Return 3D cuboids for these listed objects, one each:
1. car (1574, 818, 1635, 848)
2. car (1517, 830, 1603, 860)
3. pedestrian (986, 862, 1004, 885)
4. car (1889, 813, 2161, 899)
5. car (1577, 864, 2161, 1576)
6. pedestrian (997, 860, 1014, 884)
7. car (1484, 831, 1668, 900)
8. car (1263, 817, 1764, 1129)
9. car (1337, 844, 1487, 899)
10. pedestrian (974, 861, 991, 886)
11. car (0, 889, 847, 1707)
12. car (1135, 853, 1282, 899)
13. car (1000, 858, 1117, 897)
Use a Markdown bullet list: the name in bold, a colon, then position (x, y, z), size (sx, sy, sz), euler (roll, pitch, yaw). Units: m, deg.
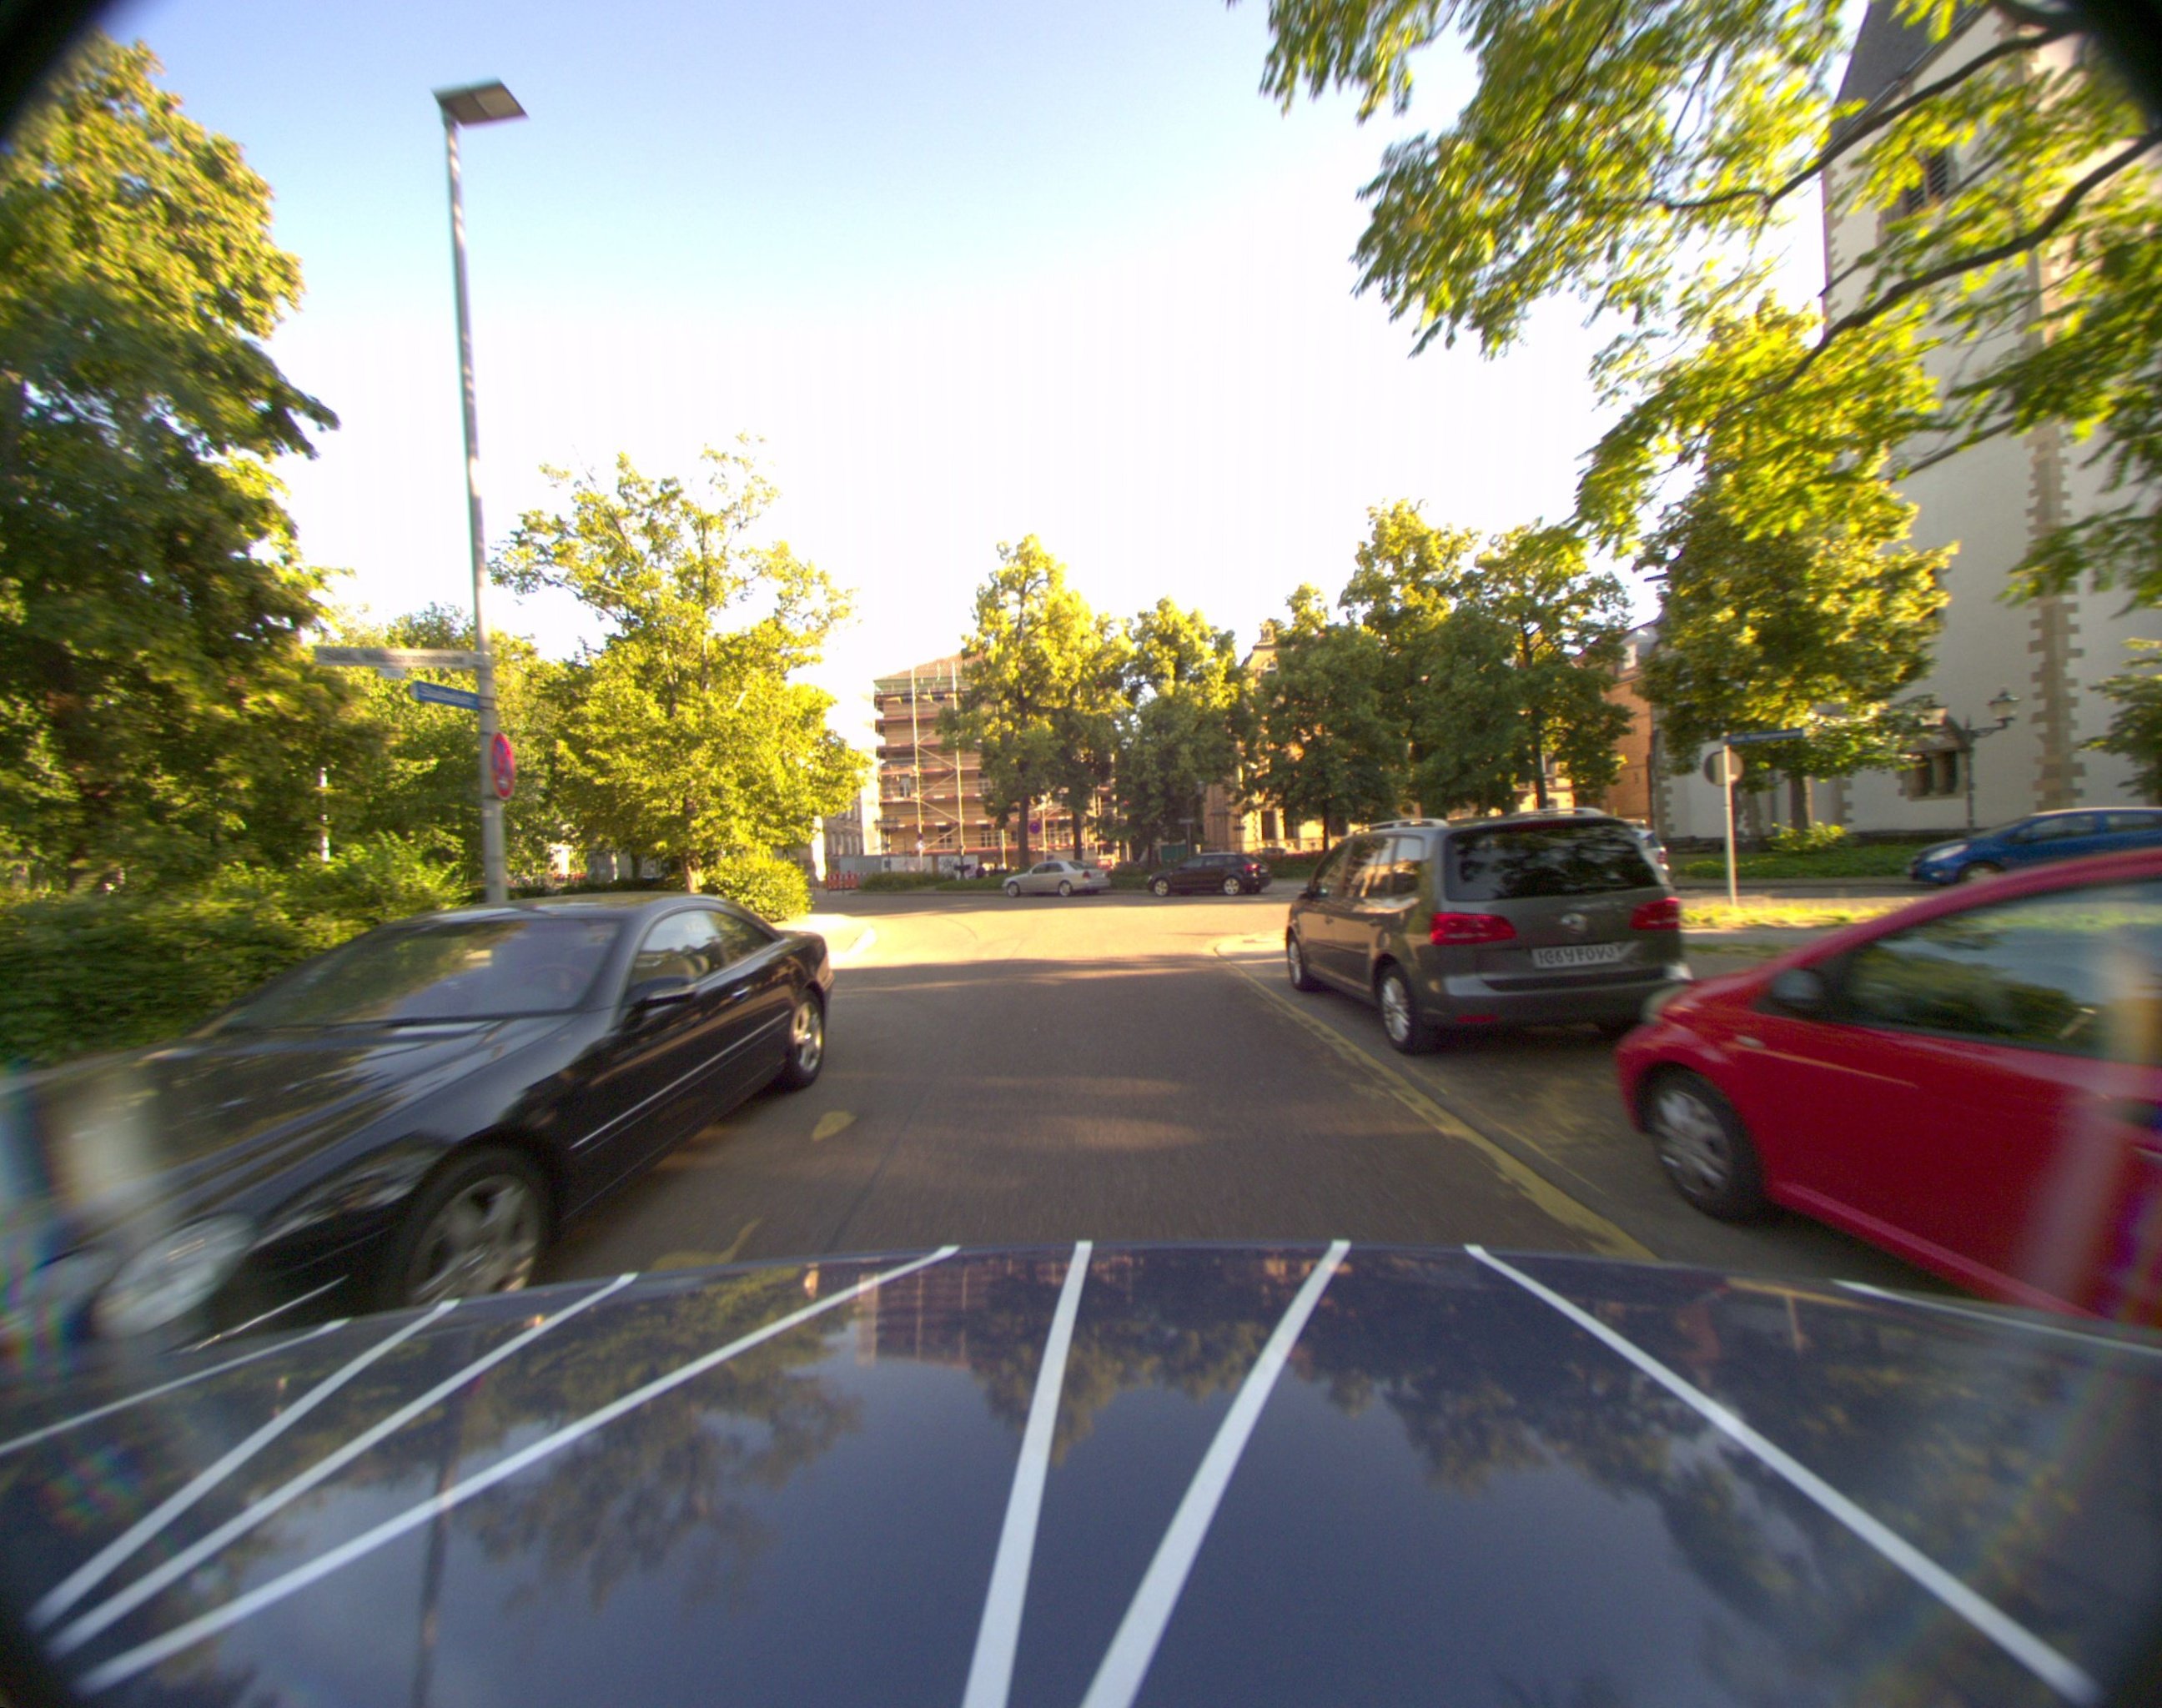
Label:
- **car**: position (42.110, -1.645, 61.217), size (1.890, 2.248, 4.220), euler (-2, 0, 0)
- **car**: position (30.087, -0.537, 47.812), size (4.217, 1.646, 1.891), euler (-2, 0, -1)
- **pedestrian**: position (-4.587, 1.032, 40.443), size (0.554, 1.188, 0.882), euler (-3, 0, -37)
- **car**: position (18.626, 0.060, 14.787), size (3.687, 1.492, 1.624), euler (-3, 0, 35)
- **car**: position (2.996, 0.814, 1.776), size (1.391, 1.415, 3.426), euler (-5, 0, 1)
- **pedestrian**: position (-4.055, 0.979, 40.707), size (0.554, 1.225, 0.723), euler (-3, 0, -37)
- **car**: position (12.393, 0.304, 19.147), size (3.687, 1.570, 1.713), euler (-3, 0, 35)
- **car**: position (3.003, 0.680, 6.533), size (1.806, 1.666, 4.320), euler (-5, 0, 1)
- **car**: position (9.395, 0.511, 21.635), size (3.596, 1.431, 1.621), euler (-3, -1, 37)
- **pedestrian**: position (-5.167, 1.008, 39.901), size (0.554, 1.290, 0.764), euler (-3, 0, -37)
- **car**: position (-2.726, 1.053, 3.566), size (1.770, 1.459, 4.864), euler (-3, 0, -1)
- **car**: position (4.228, 0.753, 25.582), size (4.483, 1.407, 1.834), euler (-3, -2, 37)
- **car**: position (-0.941, 0.942, 29.831), size (4.486, 1.407, 1.789), euler (-3, -2, 40)
